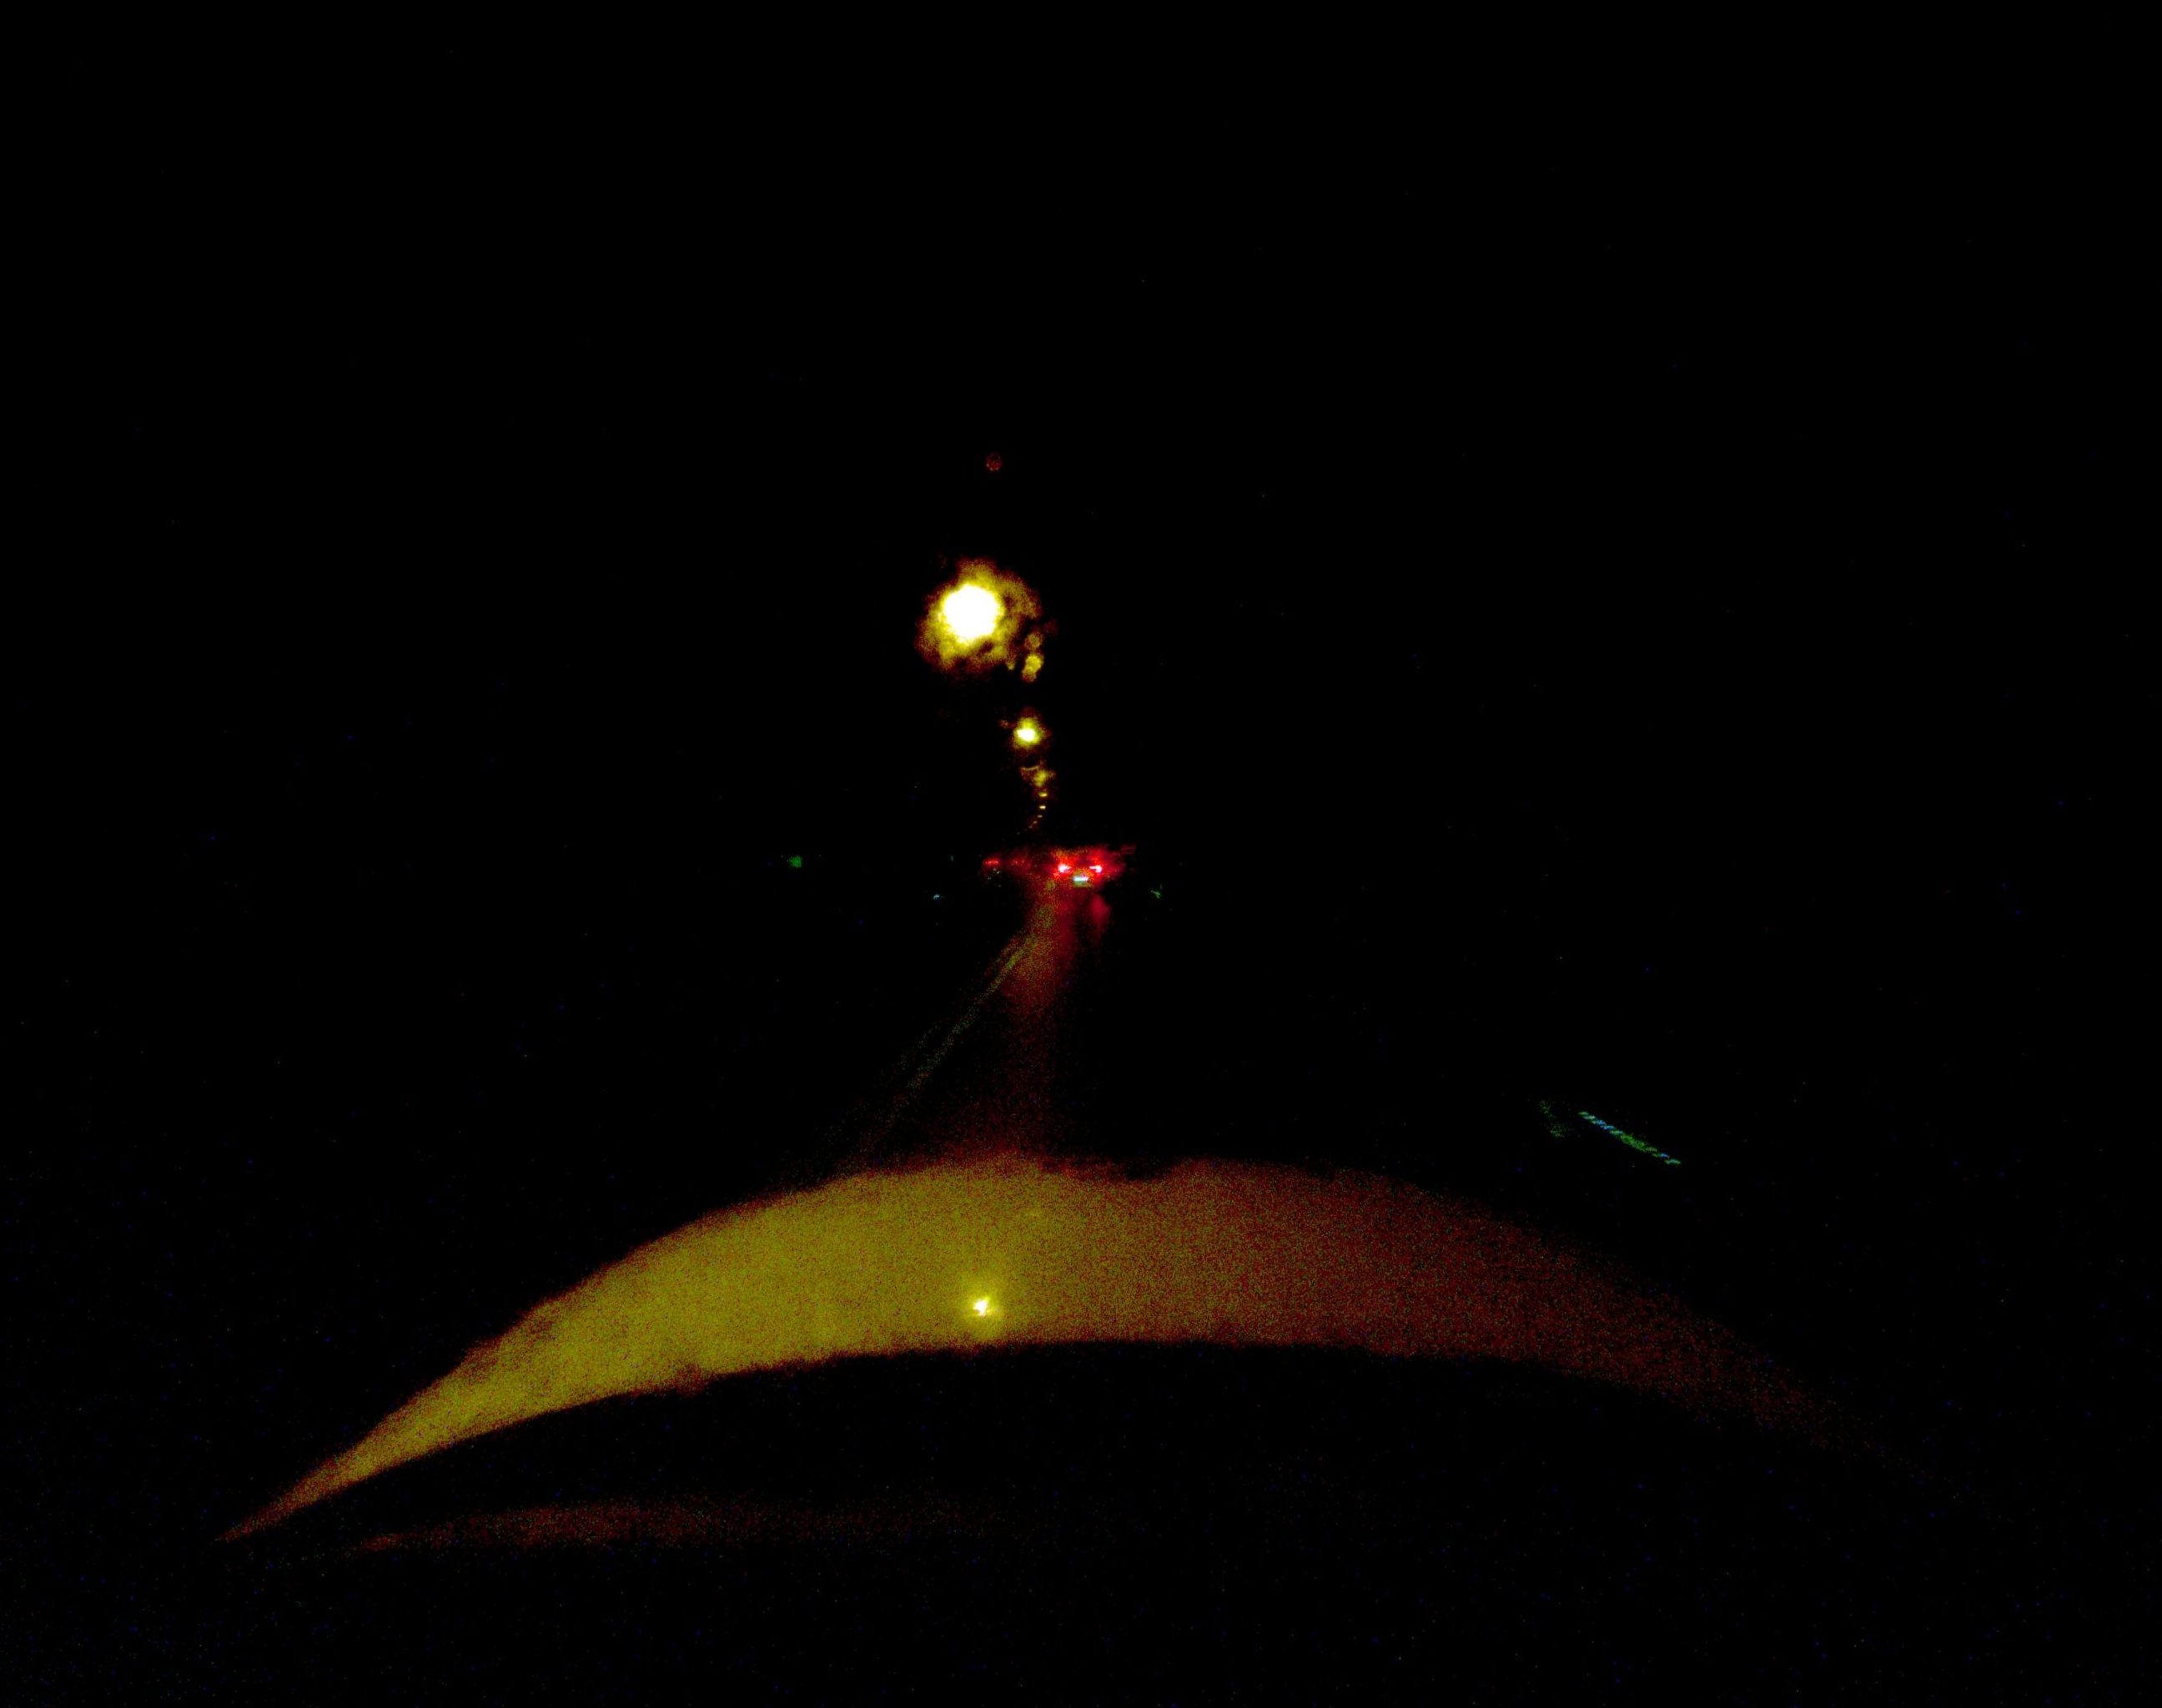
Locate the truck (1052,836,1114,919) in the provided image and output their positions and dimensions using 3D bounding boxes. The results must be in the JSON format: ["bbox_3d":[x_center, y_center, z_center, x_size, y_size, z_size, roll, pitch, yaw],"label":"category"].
[{"bbox_3d":[0.142,0.870,33.813,2.254,3.011,7.416,1,0,1],"label":"truck"}]
